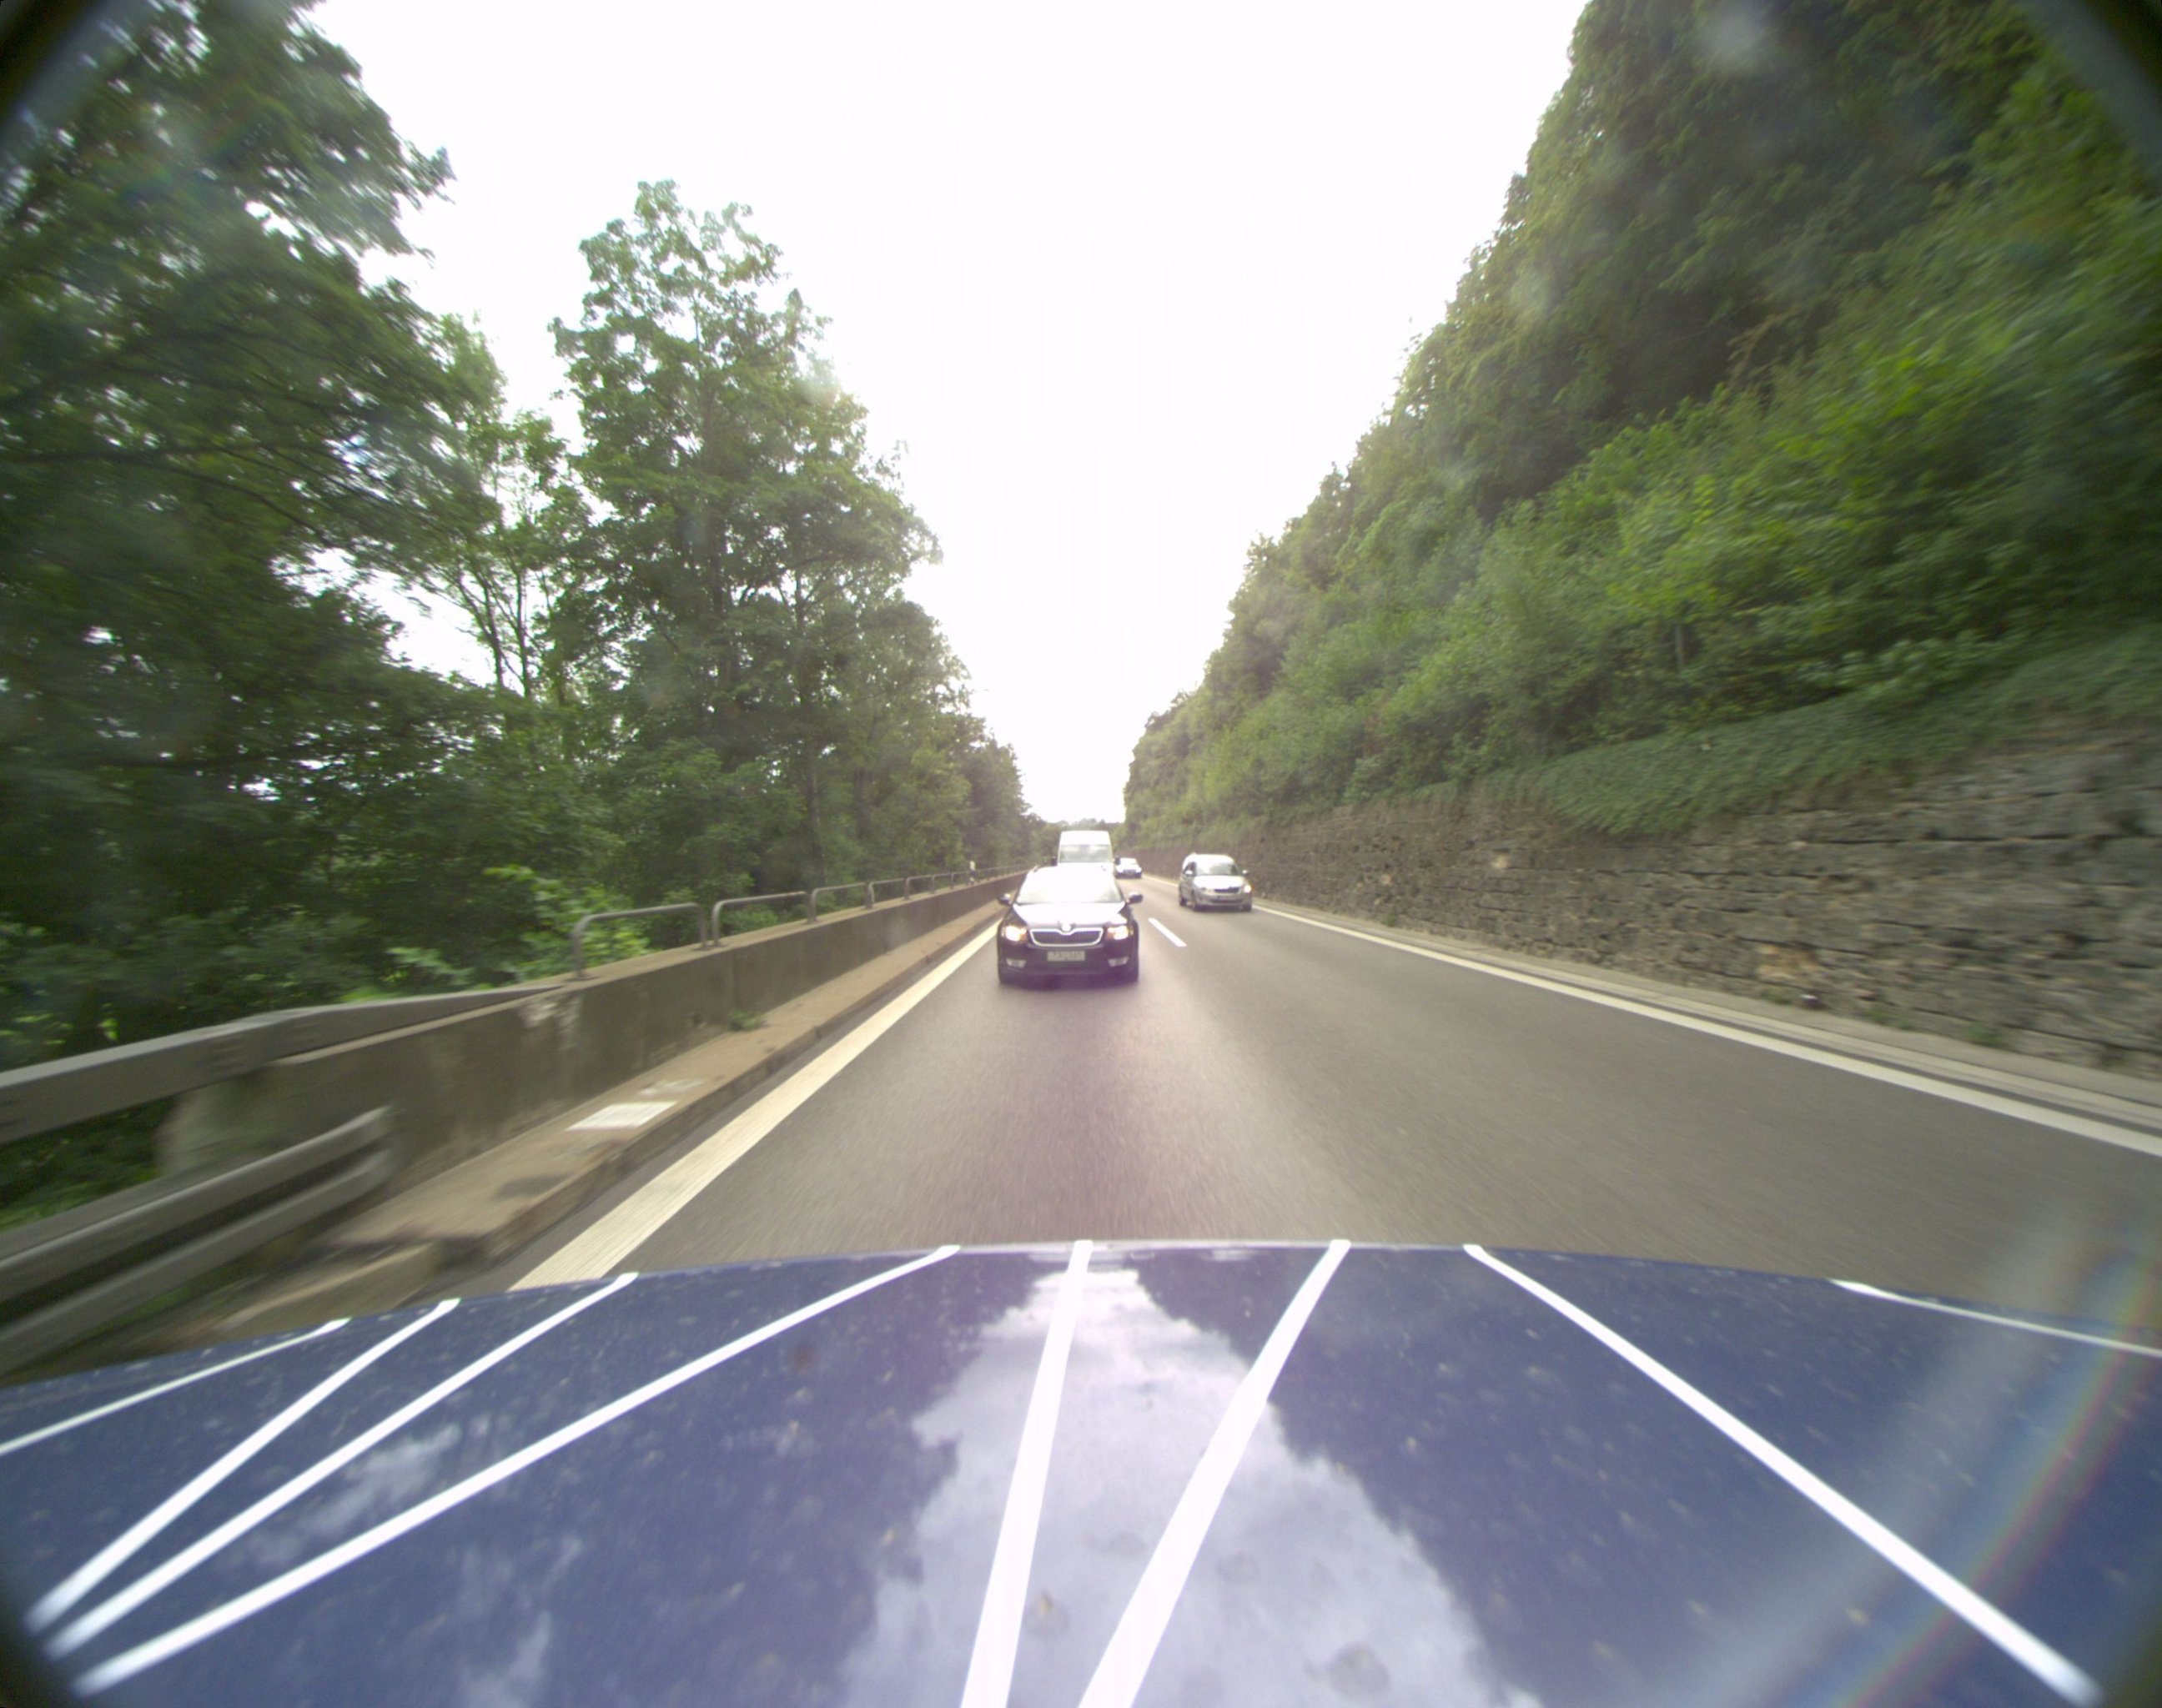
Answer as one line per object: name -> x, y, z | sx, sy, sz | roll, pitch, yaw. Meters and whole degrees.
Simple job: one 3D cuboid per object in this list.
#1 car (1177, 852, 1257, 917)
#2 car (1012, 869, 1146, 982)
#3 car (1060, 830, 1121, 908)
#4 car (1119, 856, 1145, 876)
car -> 3.934, 0.825, 22.676 | 1.638, 1.716, 4.344 | -1, 0, 1
car -> -0.098, 0.992, 12.293 | 1.751, 1.409, 4.400 | -1, 0, -2
car -> 0.276, 0.494, 27.504 | 2.001, 2.545, 5.127 | 0, 0, -1
car -> 3.809, 0.901, 57.323 | 1.765, 1.455, 5.123 | 0, 0, 2
